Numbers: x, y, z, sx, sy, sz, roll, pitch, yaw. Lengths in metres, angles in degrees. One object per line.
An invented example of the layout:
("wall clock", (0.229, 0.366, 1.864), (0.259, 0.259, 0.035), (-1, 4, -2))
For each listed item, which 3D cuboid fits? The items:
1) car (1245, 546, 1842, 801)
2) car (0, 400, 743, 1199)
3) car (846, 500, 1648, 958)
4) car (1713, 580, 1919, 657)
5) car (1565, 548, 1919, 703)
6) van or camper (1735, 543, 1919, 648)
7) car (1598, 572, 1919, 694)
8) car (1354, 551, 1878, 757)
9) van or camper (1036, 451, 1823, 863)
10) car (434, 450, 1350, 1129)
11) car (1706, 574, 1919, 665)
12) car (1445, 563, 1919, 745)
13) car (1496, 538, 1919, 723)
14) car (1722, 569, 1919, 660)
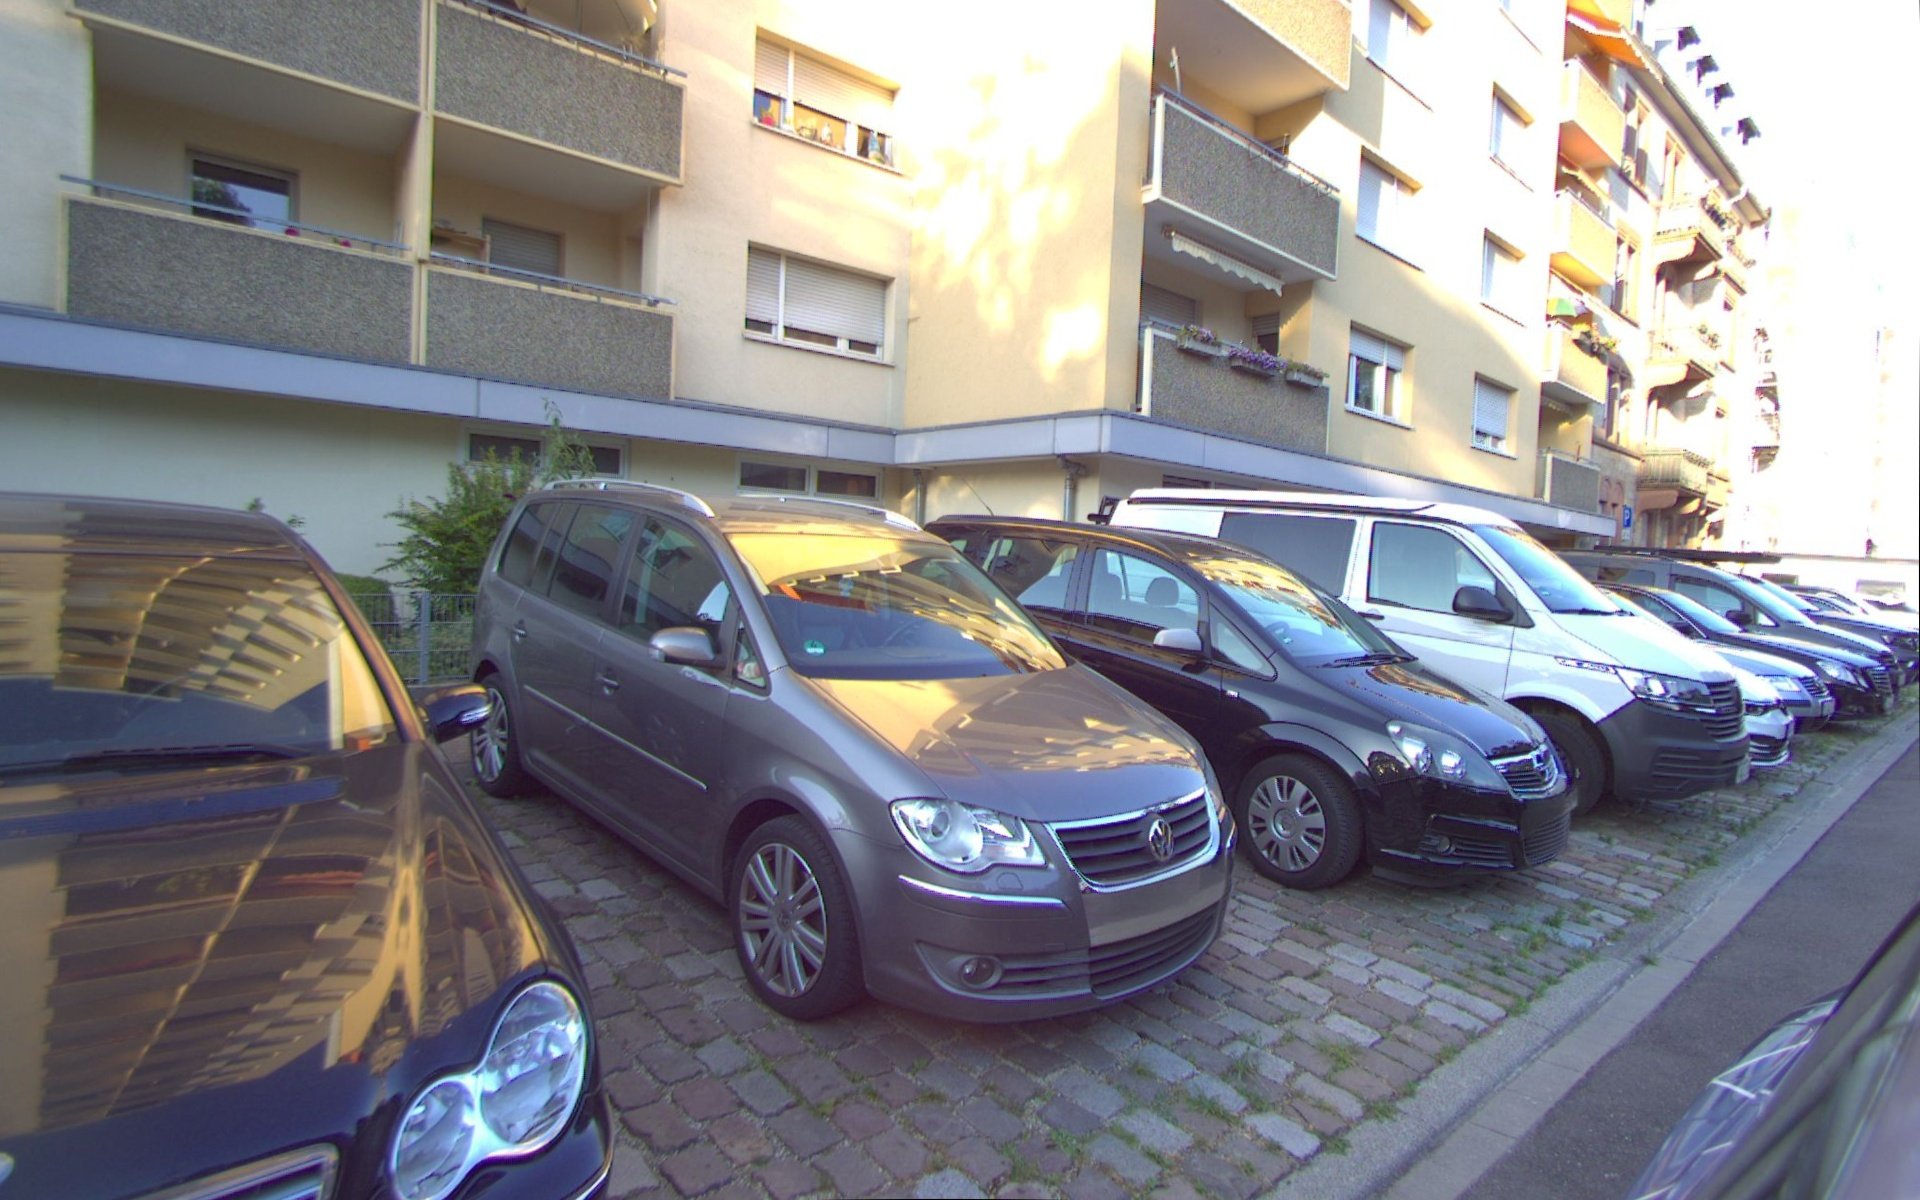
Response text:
("car", (5.117, 0.411, 9.433), (1.814, 1.650, 4.413), (-2, 6, -41))
("car", (-2.570, 0.365, 2.849), (1.815, 1.549, 4.411), (-2, 6, -43))
("car", (1.336, 0.337, 6.147), (1.752, 1.680, 4.334), (-2, 7, -43))
("car", (22.171, 0.403, 25.822), (1.813, 1.638, 4.414), (-2, 4, -40))
("car", (12.216, 0.270, 15.620), (1.814, 1.885, 4.522), (0, 4, -42))
("van or camper", (24.812, -0.093, 27.071), (2.014, 2.534, 6.074), (0, 5, -41))
("car", (13.940, 0.446, 17.605), (1.813, 1.572, 4.416), (-2, 6, -39))
("car", (6.874, 0.364, 11.036), (1.814, 1.611, 4.413), (-2, 6, -41))
("van or camper", (3.238, 0.036, 8.032), (2.006, 2.192, 5.144), (0, 7, -43))
("car", (-0.785, 0.223, 4.685), (1.815, 1.680, 4.412), (-2, 7, -43))
("car", (19.032, 0.382, 21.790), (1.813, 1.572, 4.415), (-2, 6, -40))
("car", (8.581, 0.454, 12.336), (1.814, 1.581, 4.413), (-2, 6, -41))
("car", (10.372, 0.227, 14.167), (1.814, 2.004, 4.647), (-2, 6, -41))
("car", (20.789, 0.308, 23.622), (1.812, 1.769, 4.417), (0, 4, -39))
